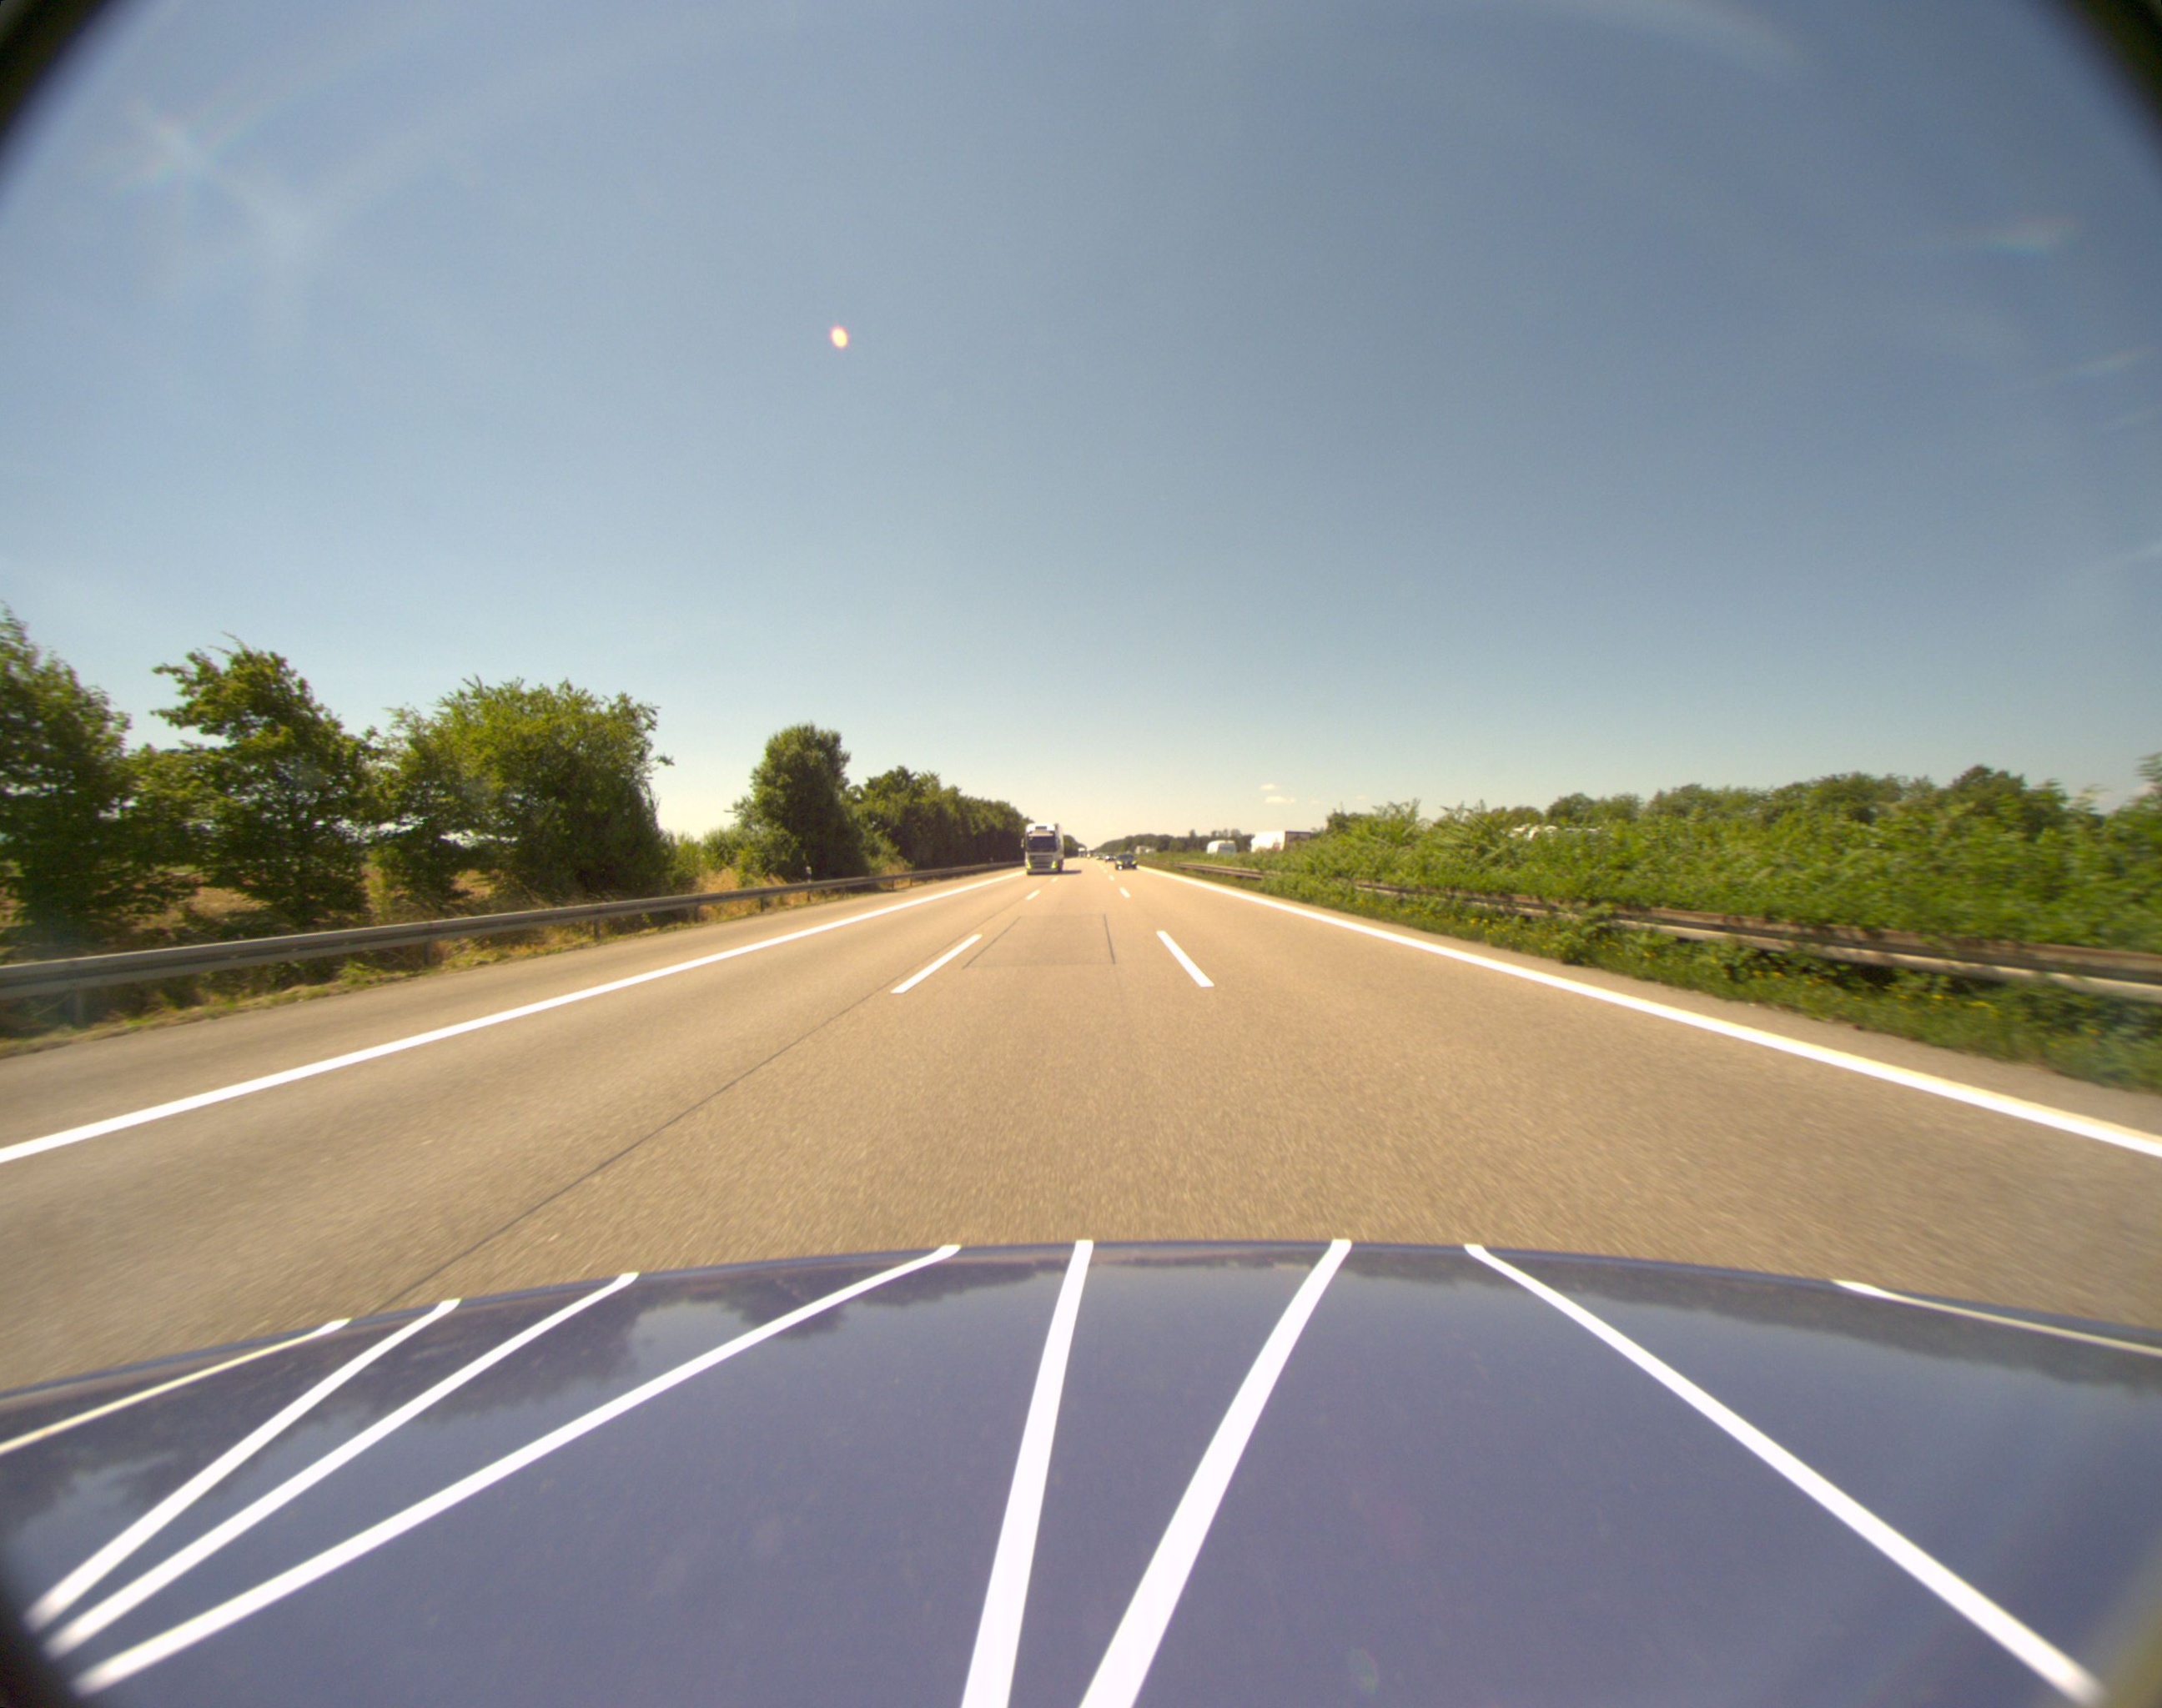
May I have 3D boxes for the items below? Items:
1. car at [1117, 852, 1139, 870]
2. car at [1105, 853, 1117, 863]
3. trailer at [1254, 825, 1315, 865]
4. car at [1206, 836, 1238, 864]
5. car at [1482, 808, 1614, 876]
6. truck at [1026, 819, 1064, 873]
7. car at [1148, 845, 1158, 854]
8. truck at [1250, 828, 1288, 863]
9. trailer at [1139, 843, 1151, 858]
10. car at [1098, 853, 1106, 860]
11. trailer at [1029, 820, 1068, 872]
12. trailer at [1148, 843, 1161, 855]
[{"bbox_3d":[4.237,0.613,69.036,1.811,1.459,4.000,-2,0,1],"label":"car"},{"bbox_3d":[4.967,0.641,127.276,1.811,1.417,4.000,-2,0,1],"label":"car"},{"bbox_3d":[21.734,-0.946,82.107,2.941,3.847,13.909,-2,0,1],"label":"trailer"},{"bbox_3d":[13.378,-0.393,72.559,1.811,2.486,6.778,-2,0,1],"label":"car"},{"bbox_3d":[20.634,-0.529,33.951,2.476,2.693,5.519,-2,1,1],"label":"car"},{"bbox_3d":[-2.810,-0.639,60.971,2.476,4.039,6.319,-2,1,1],"label":"truck"},{"bbox_3d":[18.760,-1.195,198.398,2.085,2.380,6.732,-2,0,0],"label":"car"},{"bbox_3d":[21.820,-0.994,88.467,2.941,3.847,5.751,-2,1,1],"label":"truck"},{"bbox_3d":[20.374,-1.130,244.020,2.828,4.500,13.865,-2,0,1],"label":"trailer"},{"bbox_3d":[4.896,0.628,176.485,1.811,1.417,4.000,-2,0,1],"label":"car"},{"bbox_3d":[-2.696,-0.680,67.375,2.476,4.038,13.879,-2,0,1],"label":"trailer"},{"bbox_3d":[25.149,-1.718,260.832,2.962,4.035,14.324,-2,0,1],"label":"trailer"}]
